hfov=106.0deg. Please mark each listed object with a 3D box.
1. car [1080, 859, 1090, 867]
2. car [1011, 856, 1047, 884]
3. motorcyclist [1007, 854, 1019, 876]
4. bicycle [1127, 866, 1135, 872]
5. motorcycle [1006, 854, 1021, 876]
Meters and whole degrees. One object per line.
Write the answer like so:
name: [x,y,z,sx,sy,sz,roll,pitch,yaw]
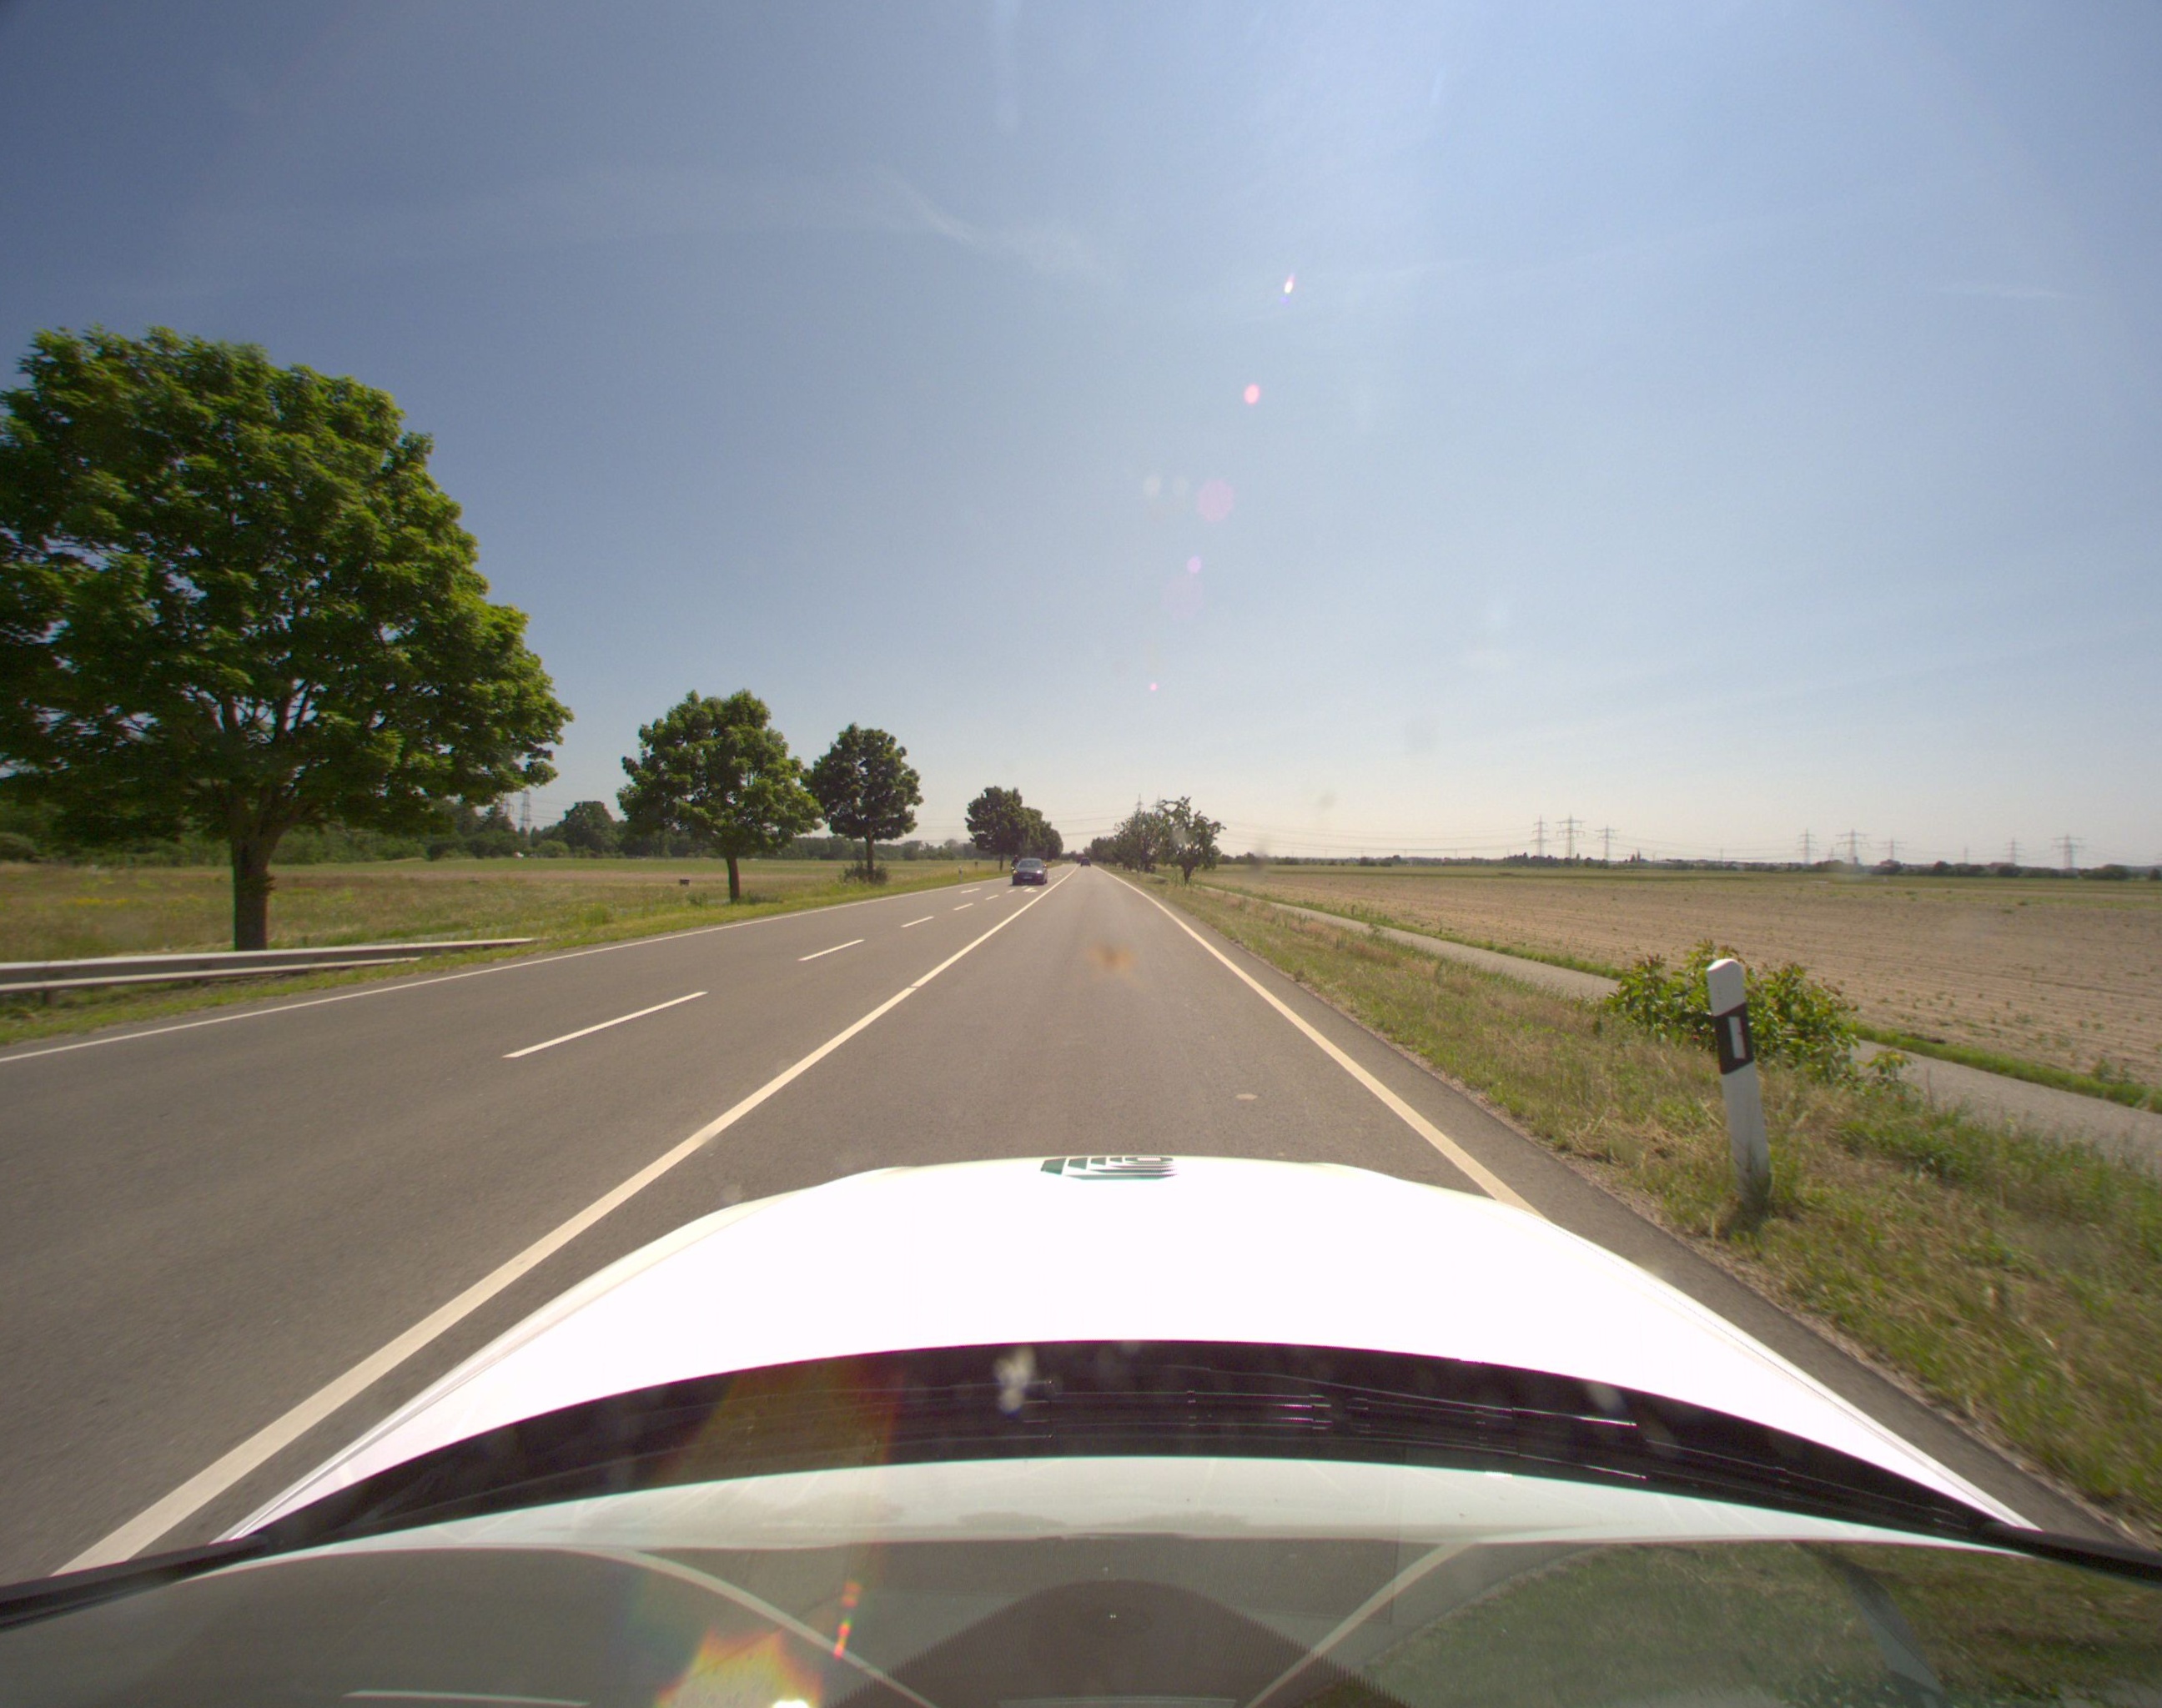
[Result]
car: [0.725,1.681,153.967,1.879,1.518,4.038,3,0,0]
car: [-2.913,0.882,46.330,1.734,1.473,4.617,-1,0,0]
motorcyclist: [-5.433,0.879,65.038,0.850,1.721,1.089,-1,-1,2]
bicycle: [10.486,3.088,170.350,1.216,1.165,2.432,3,0,-4]
motorcycle: [-5.423,0.887,65.379,0.885,1.743,2.446,0,0,1]
